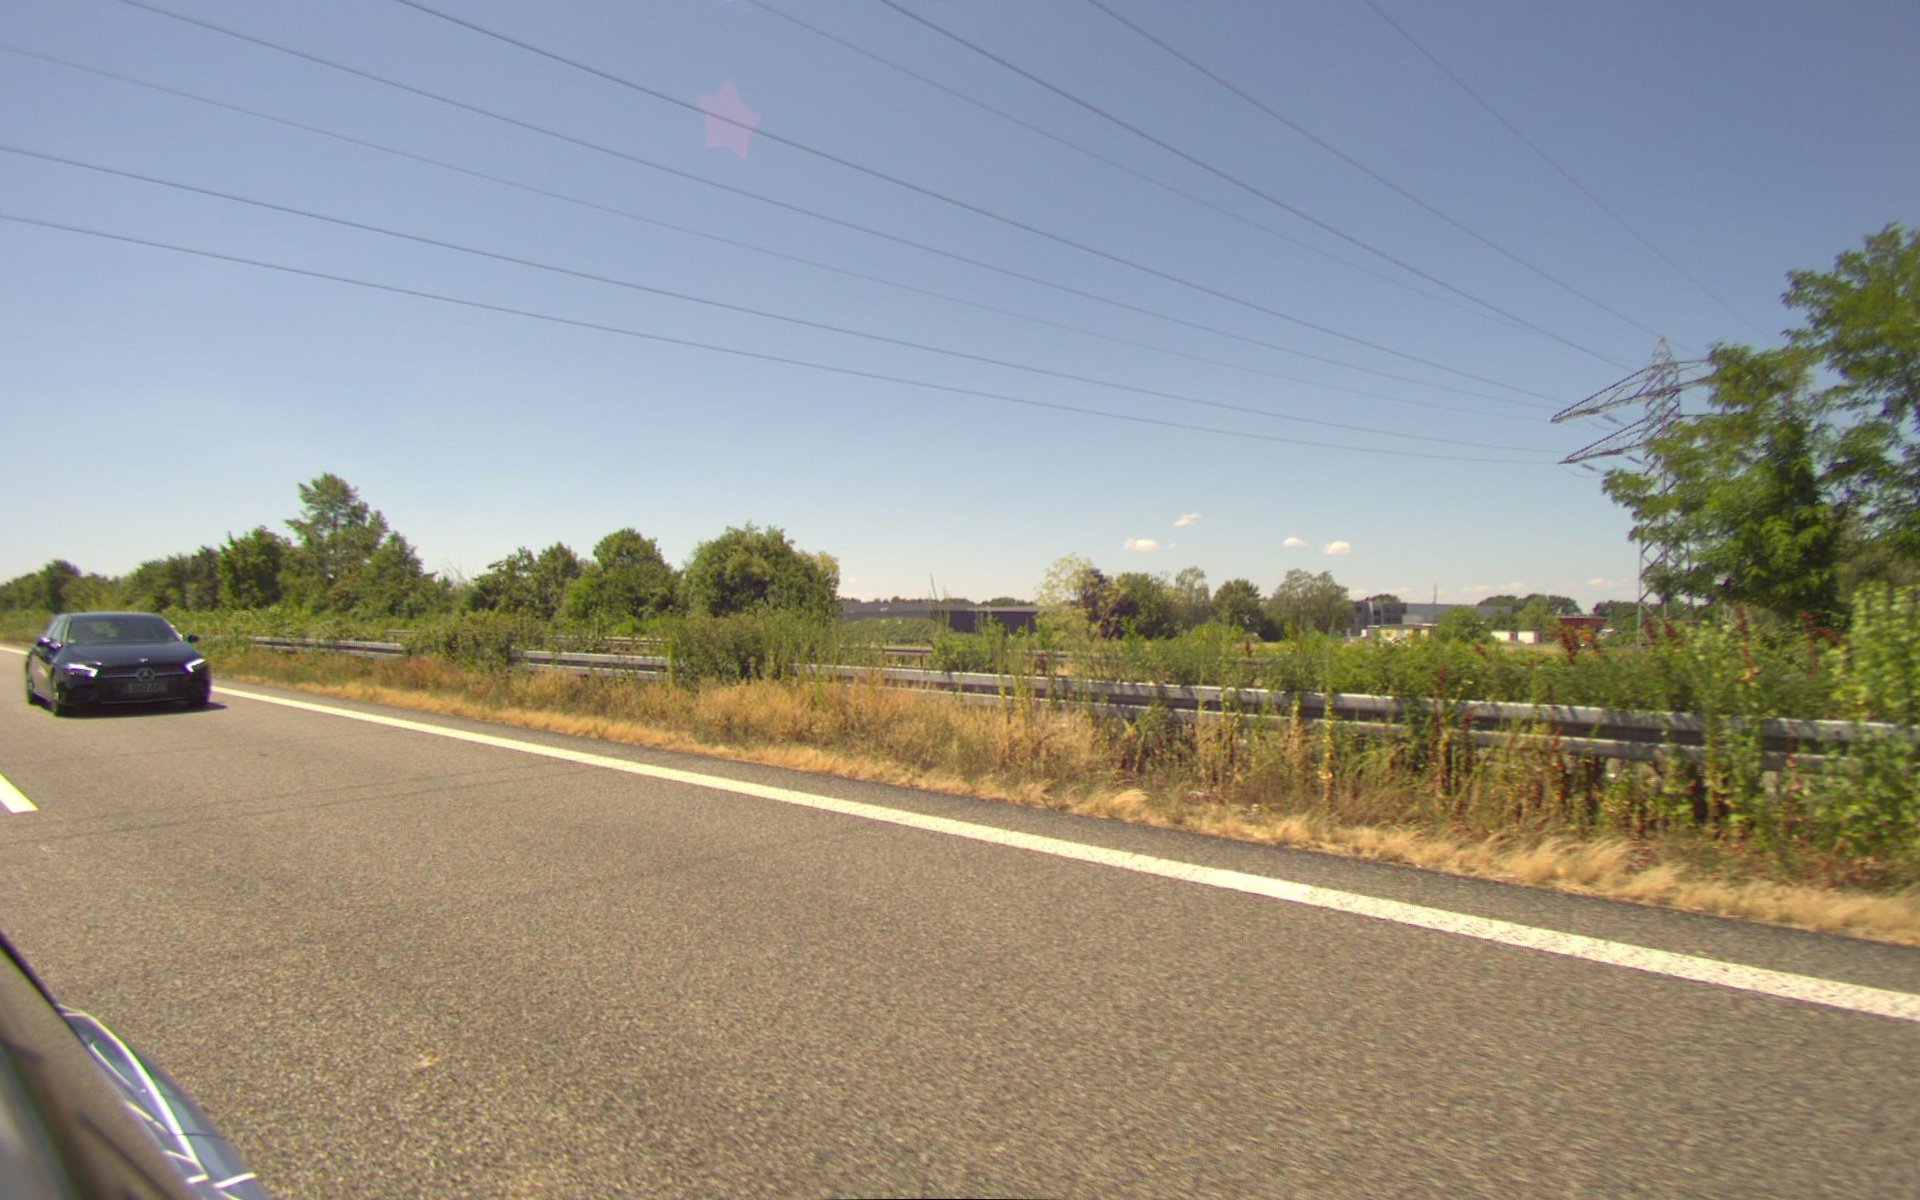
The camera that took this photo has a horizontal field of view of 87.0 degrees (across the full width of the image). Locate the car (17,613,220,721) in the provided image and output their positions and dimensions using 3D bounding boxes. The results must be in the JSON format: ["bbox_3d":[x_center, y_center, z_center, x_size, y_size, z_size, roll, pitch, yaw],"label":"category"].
[{"bbox_3d":[-12.930,0.923,15.475,4.050,1.422,1.773,-1,-1,41],"label":"car"}]
